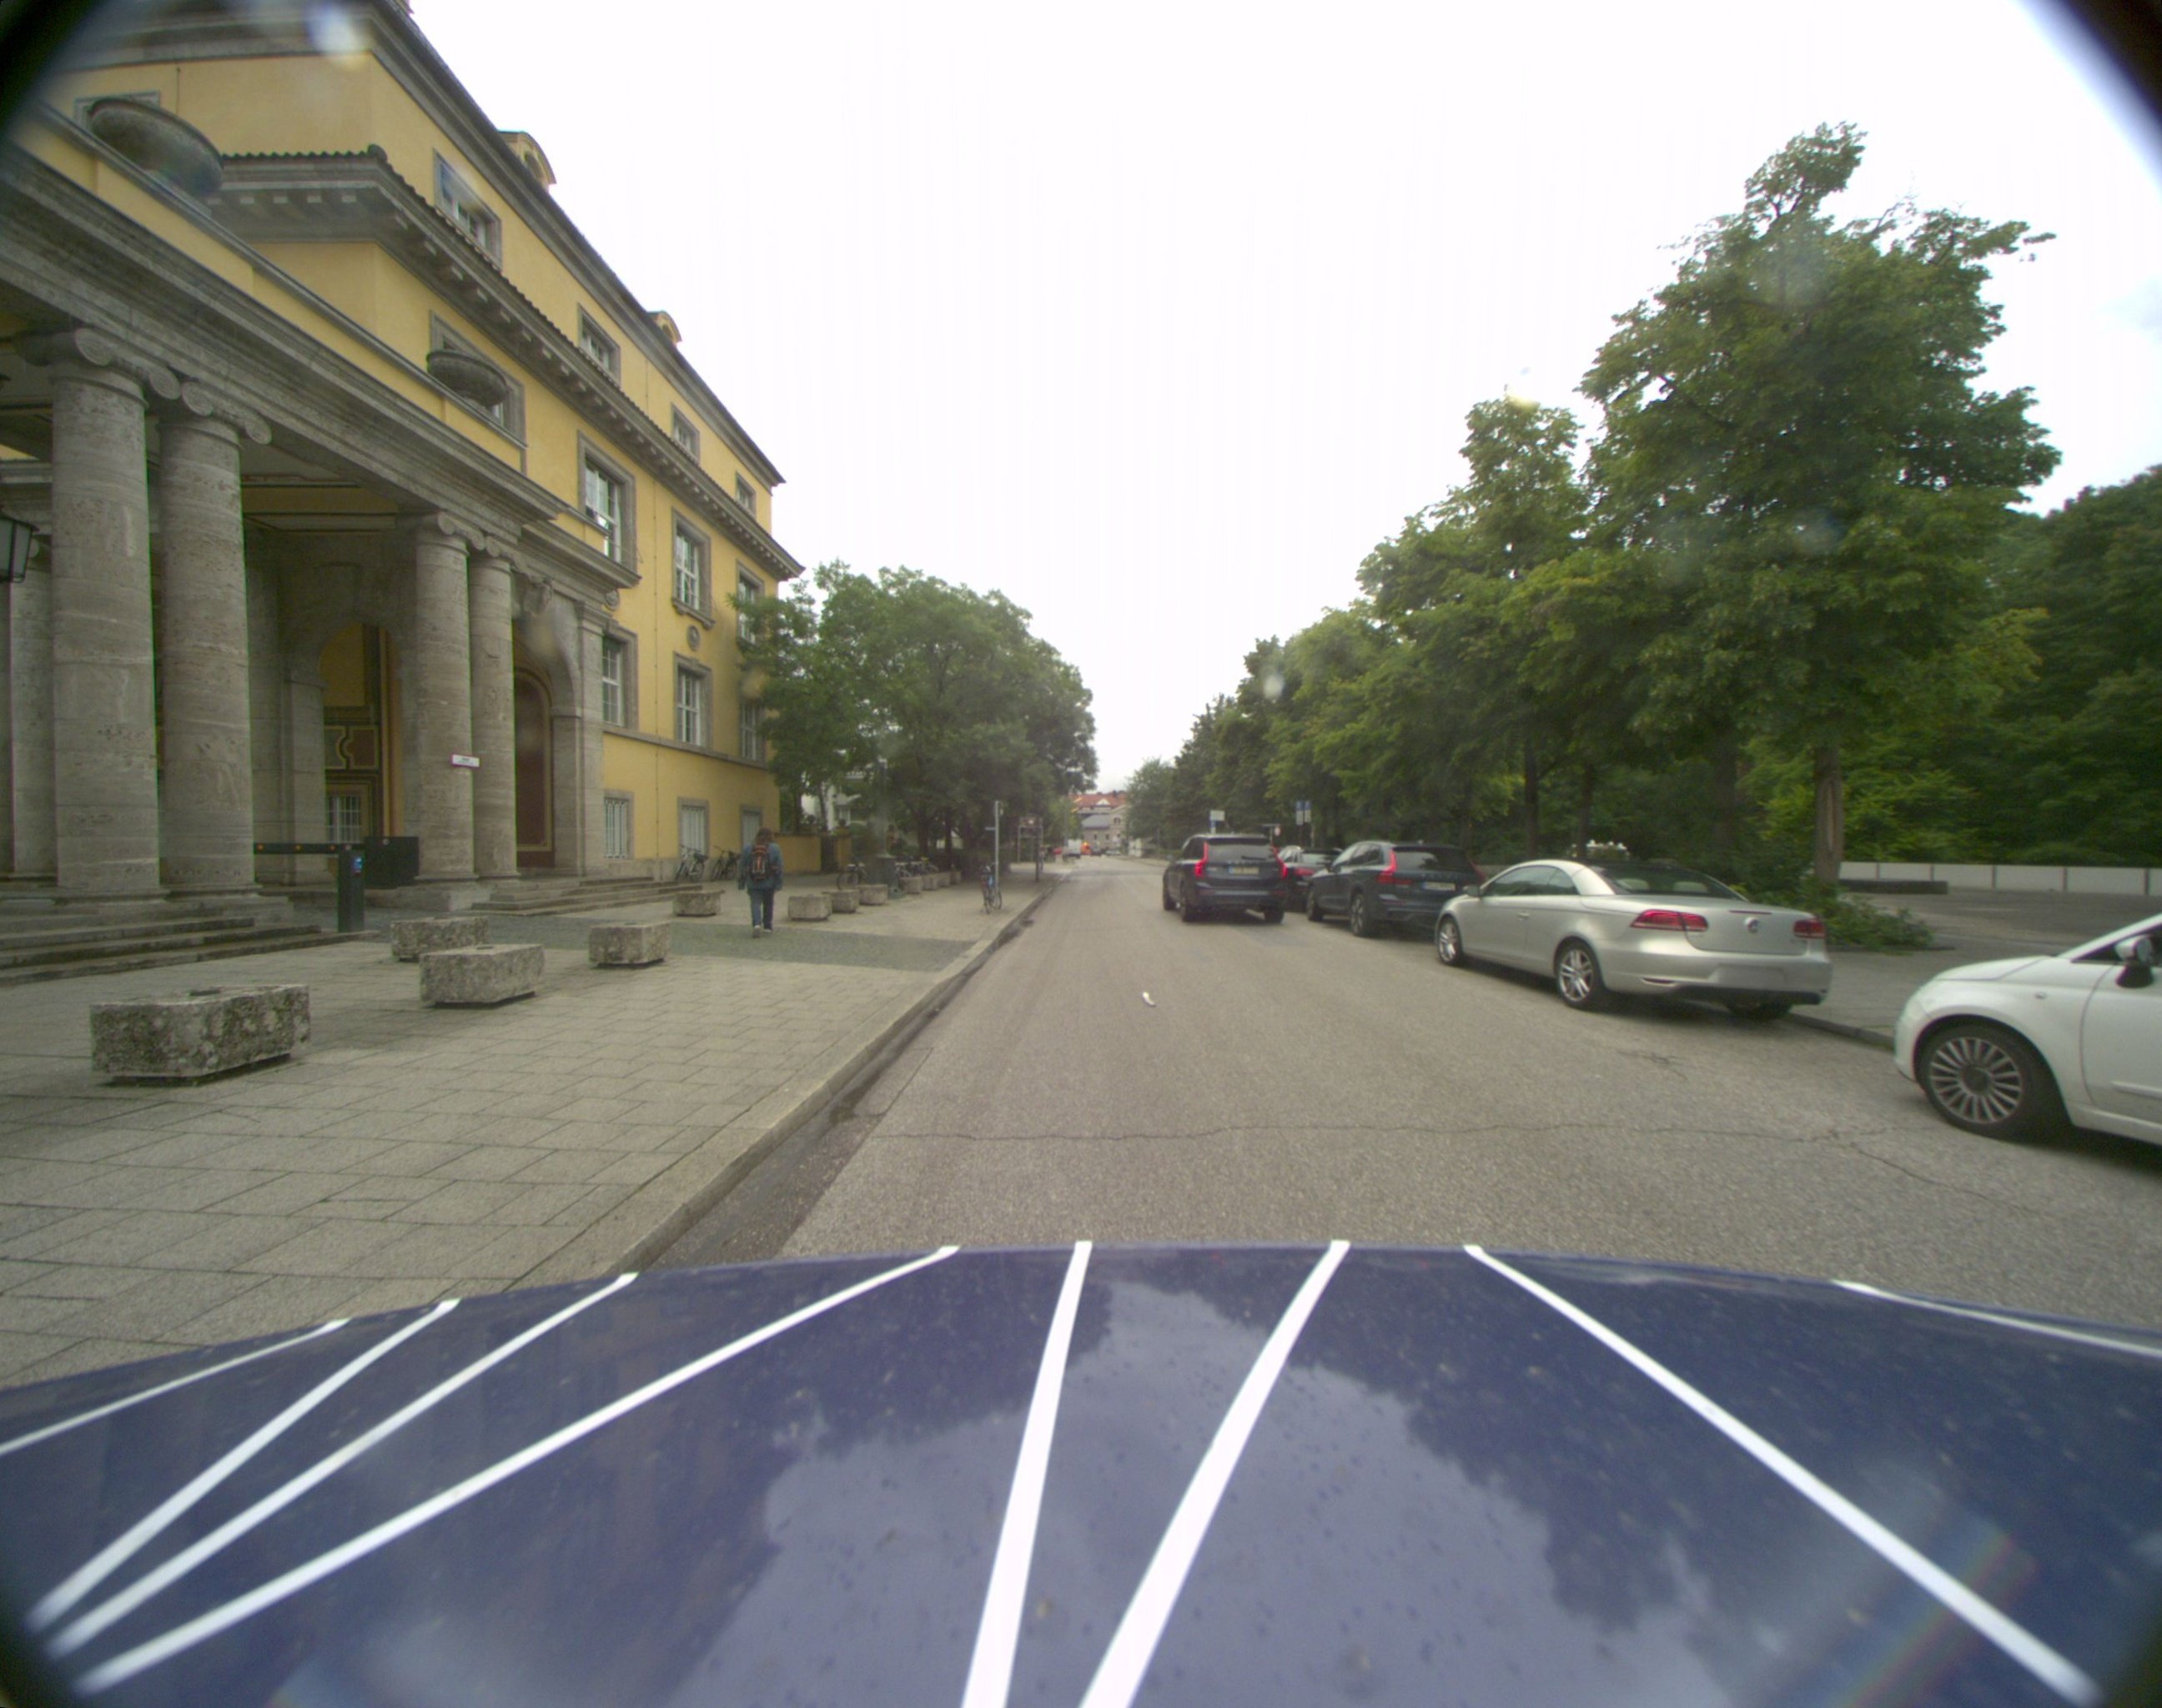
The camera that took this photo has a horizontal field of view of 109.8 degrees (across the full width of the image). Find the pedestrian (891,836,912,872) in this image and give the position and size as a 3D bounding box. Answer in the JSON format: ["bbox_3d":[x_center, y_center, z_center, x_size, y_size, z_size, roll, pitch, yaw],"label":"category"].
[{"bbox_3d":[-9.571,-0.012,40.501,0.782,1.855,1.035,3,2,1],"label":"pedestrian"}]

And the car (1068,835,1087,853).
[{"bbox_3d":[-0.554,-1.389,106.228,2.236,2.289,4.728,-3,2,-4],"label":"car"}]

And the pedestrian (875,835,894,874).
[{"bbox_3d":[-9.644,0.018,37.271,0.659,1.855,0.820,3,2,1],"label":"pedestrian"}]

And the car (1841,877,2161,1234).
[{"bbox_3d":[5.379,0.912,2.809,1.547,1.462,3.552,2,1,1],"label":"car"}]

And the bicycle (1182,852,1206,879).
[{"bbox_3d":[5.610,0.553,37.637,0.574,1.275,1.421,-1,1,33],"label":"bicycle"}]

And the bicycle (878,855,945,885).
[{"bbox_3d":[-6.191,0.591,27.799,2.261,1.005,0.602,2,1,3],"label":"bicycle"}]

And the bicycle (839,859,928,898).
[{"bbox_3d":[-5.620,0.699,21.757,2.370,1.000,0.677,2,1,-8],"label":"bicycle"}]

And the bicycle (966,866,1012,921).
[{"bbox_3d":[-2.120,0.885,17.748,0.762,1.094,2.263,2,1,0],"label":"bicycle"}]

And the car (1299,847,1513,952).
[{"bbox_3d":[5.605,0.676,13.856,1.998,1.574,4.521,1,1,1],"label":"car"}]

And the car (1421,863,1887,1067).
[{"bbox_3d":[5.382,0.885,8.007,1.762,1.392,4.217,3,1,2],"label":"car"}]

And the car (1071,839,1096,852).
[{"bbox_3d":[0.594,-1.904,169.078,4.973,2.521,2.578,-1,2,44],"label":"car"}]

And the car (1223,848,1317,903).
[{"bbox_3d":[5.813,0.589,23.936,1.998,1.535,4.364,1,1,2],"label":"car"}]

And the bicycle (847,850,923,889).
[{"bbox_3d":[-6.351,0.513,24.732,2.265,1.053,0.601,5,1,-10],"label":"bicycle"}]

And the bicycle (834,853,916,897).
[{"bbox_3d":[-6.179,0.633,22.867,2.265,1.088,0.601,5,1,-10],"label":"bicycle"}]

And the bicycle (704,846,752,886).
[{"bbox_3d":[-11.989,0.389,25.883,0.601,1.299,2.164,1,1,1],"label":"bicycle"}]

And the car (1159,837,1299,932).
[{"bbox_3d":[2.932,0.525,16.209,1.965,1.672,4.911,1,1,0],"label":"car"}]

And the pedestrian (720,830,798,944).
[{"bbox_3d":[-5.108,0.493,12.107,0.790,1.736,1.055,1,1,0],"label":"pedestrian"}]

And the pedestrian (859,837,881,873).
[{"bbox_3d":[-10.369,0.027,37.348,0.741,1.734,0.841,3,2,1],"label":"pedestrian"}]

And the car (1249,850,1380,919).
[{"bbox_3d":[5.667,0.665,19.096,1.998,1.452,4.647,1,1,2],"label":"car"}]

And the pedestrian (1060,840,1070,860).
[{"bbox_3d":[-1.492,-0.375,70.843,0.777,1.855,0.997,-3,2,-5],"label":"pedestrian"}]

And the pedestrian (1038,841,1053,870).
[{"bbox_3d":[-2.156,0.063,46.385,0.798,1.722,0.660,-3,2,0],"label":"pedestrian"}]

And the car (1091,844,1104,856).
[{"bbox_3d":[2.825,-0.770,131.844,2.222,1.840,4.730,-3,1,1],"label":"car"}]

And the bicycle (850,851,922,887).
[{"bbox_3d":[-6.559,0.507,25.647,2.265,1.018,0.601,5,1,-10],"label":"bicycle"}]

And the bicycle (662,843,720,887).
[{"bbox_3d":[-12.030,0.310,23.524,0.601,1.299,2.264,1,1,1],"label":"bicycle"}]

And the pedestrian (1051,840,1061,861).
[{"bbox_3d":[-2.349,-0.335,70.965,0.777,1.855,0.996,-3,2,-7],"label":"pedestrian"}]
